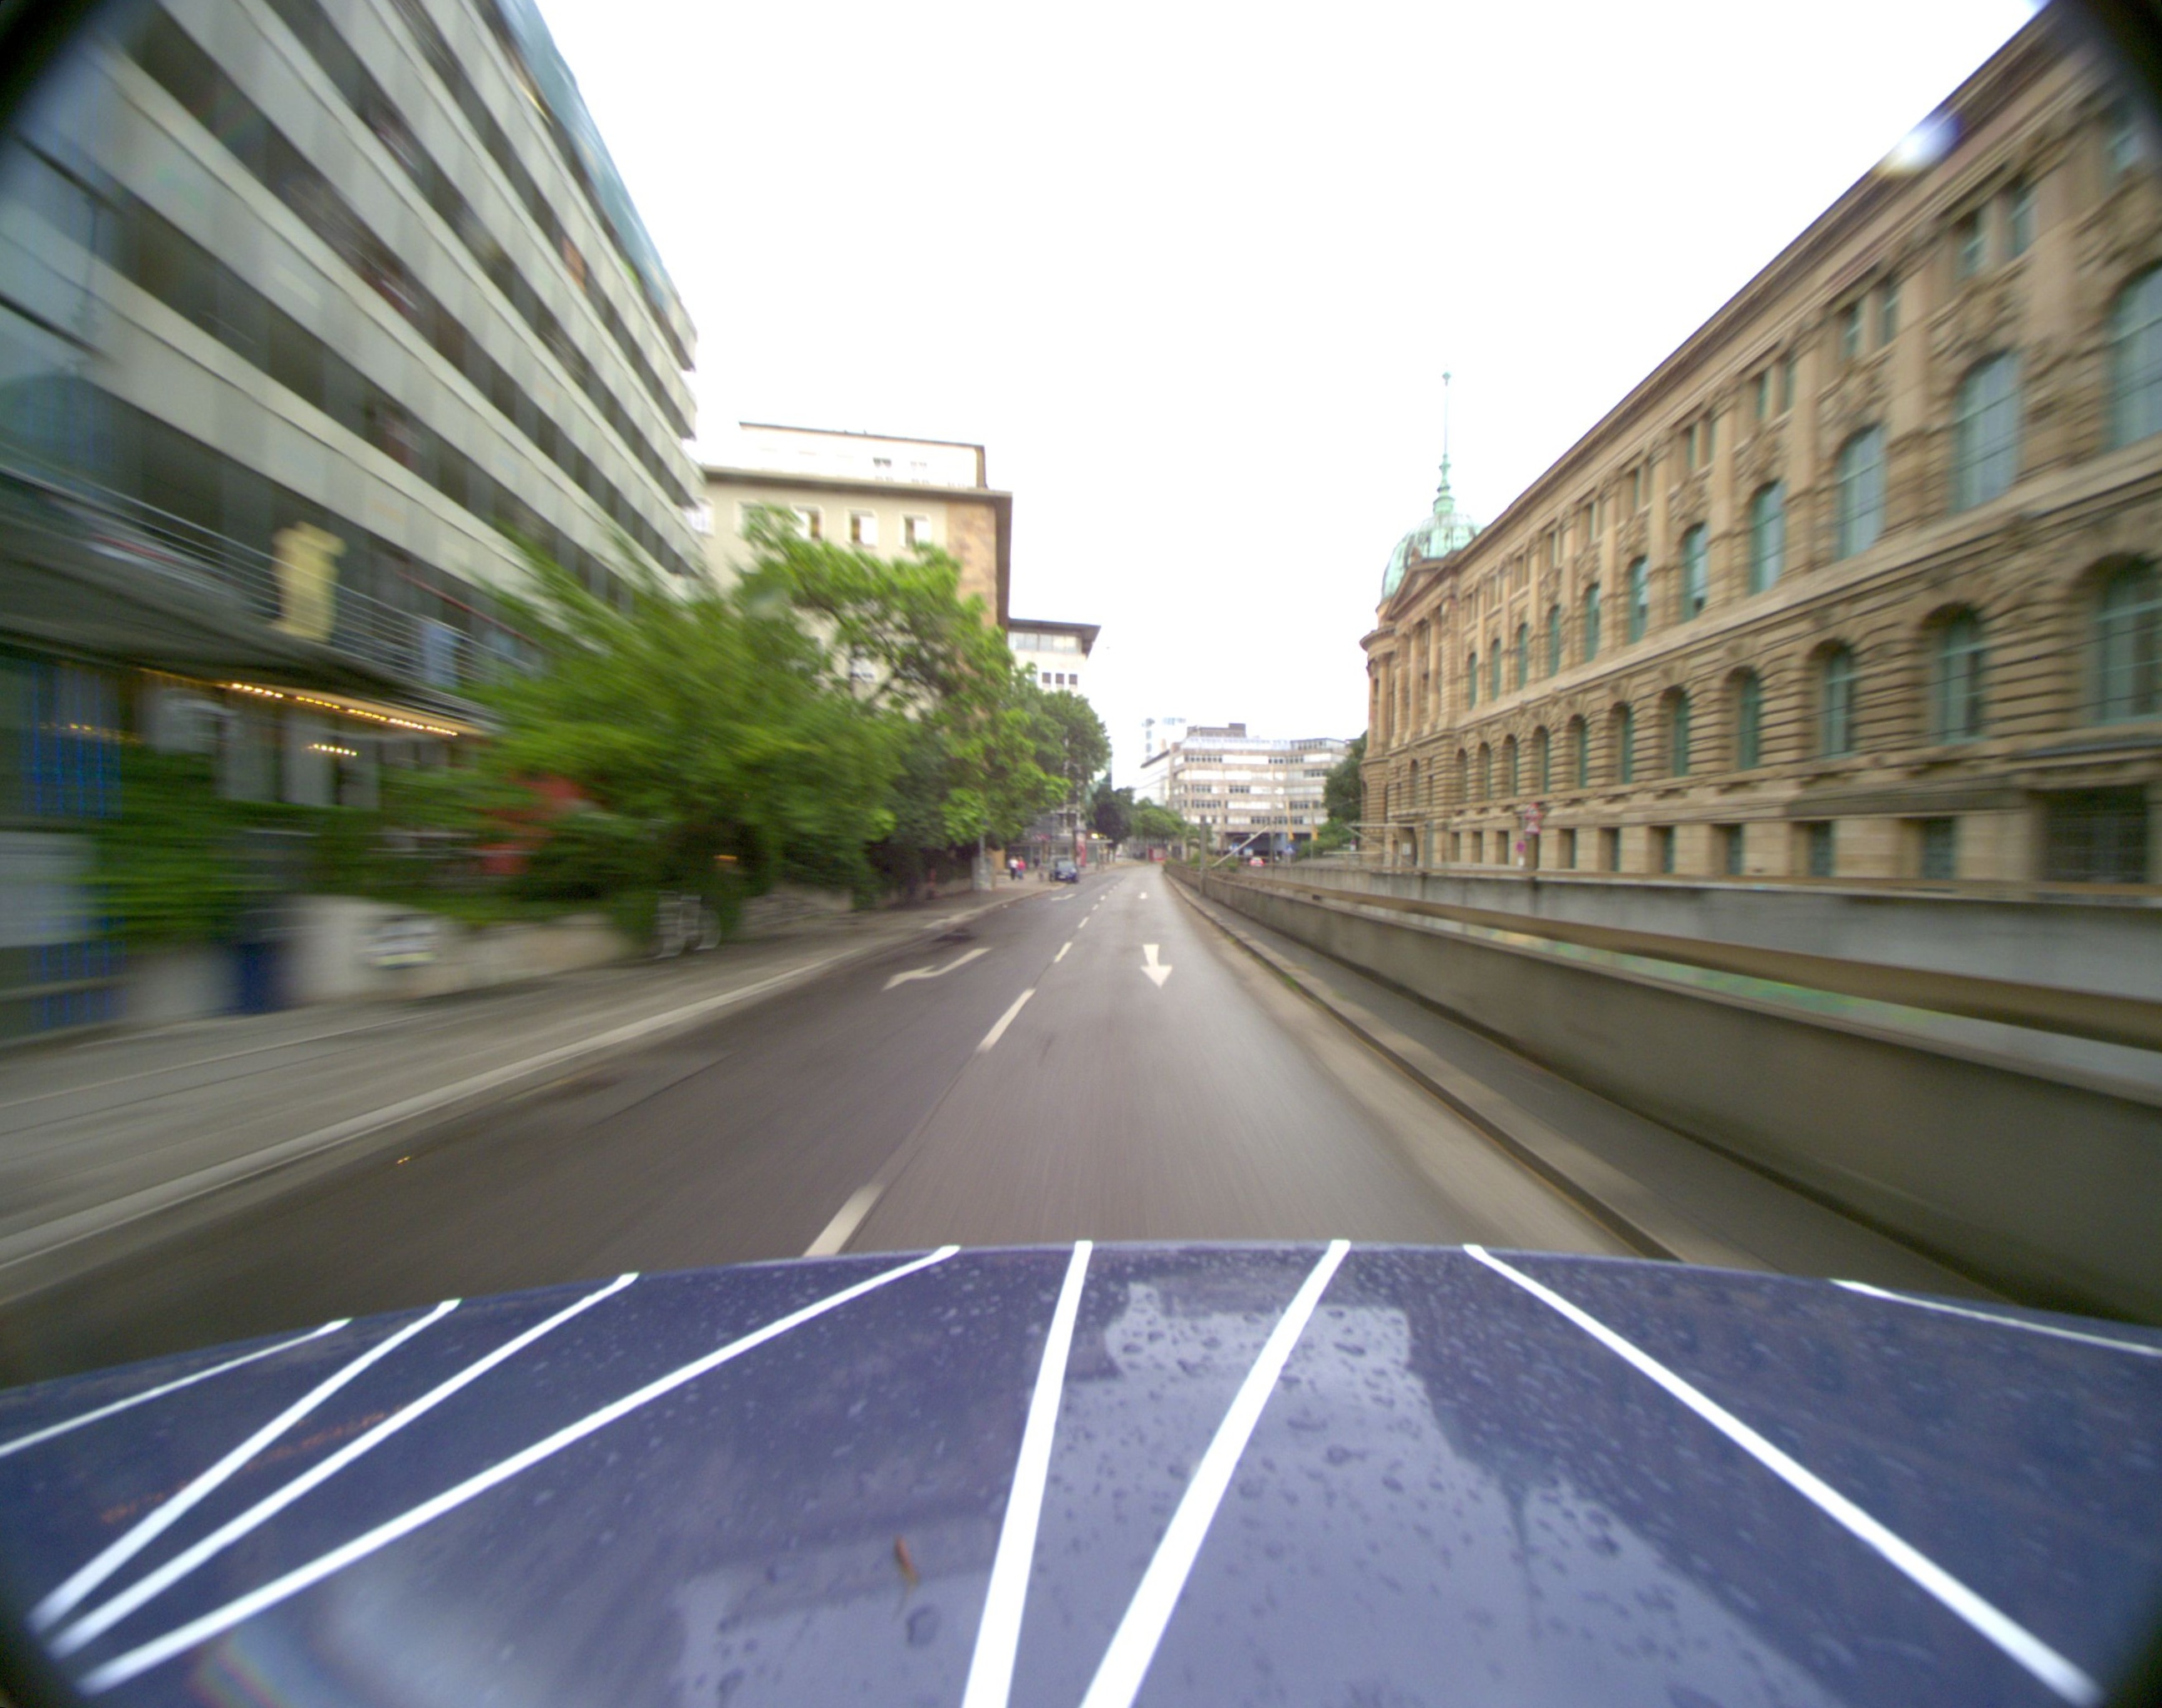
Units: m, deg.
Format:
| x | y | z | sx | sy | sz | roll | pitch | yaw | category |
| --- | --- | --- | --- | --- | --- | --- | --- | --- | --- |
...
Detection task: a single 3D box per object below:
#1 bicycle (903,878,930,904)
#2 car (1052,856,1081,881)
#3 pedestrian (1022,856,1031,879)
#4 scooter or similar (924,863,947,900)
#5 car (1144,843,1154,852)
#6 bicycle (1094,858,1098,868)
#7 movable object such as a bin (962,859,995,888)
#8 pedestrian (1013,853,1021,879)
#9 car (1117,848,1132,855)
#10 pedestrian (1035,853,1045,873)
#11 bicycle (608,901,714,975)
| x | y | z | sx | sy | sz | roll | pitch | yaw | category |
| --- | --- | --- | --- | --- | --- | --- | --- | --- | --- |
| -5.331 | 1.197 | 24.675 | 0.501 | 0.750 | 1.211 | 2 | 0 | 5 | bicycle |
| -0.973 | 0.975 | 53.628 | 1.772 | 1.610 | 4.157 | 0 | 1 | 3 | car |
| -3.507 | 0.851 | 48.778 | 0.526 | 1.483 | 0.673 | 0 | 1 | -6 | pedestrian |
| -5.115 | 0.948 | 26.732 | 0.448 | 1.252 | 1.211 | 2 | 1 | 5 | scooter or similar |
| 15.748 | -1.547 | 176.201 | 1.998 | 2.068 | 3.999 | -1 | 1 | 1 | car |
| 1.637 | 0.944 | 82.952 | 0.490 | 1.006 | 1.928 | 0 | 1 | 2 | bicycle |
| -4.881 | 0.902 | 36.265 | 1.242 | 1.302 | 1.234 | 2 | 1 | 6 | movable object such as a bin |
| -4.063 | 0.749 | 48.331 | 0.526 | 1.593 | 0.673 | 0 | 1 | -4 | pedestrian |
| 12.145 | -0.763 | 210.522 | 3.775 | 1.641 | 1.796 | 2 | 1 | -19 | car |
| -3.788 | 0.822 | 69.472 | 0.781 | 1.761 | 0.863 | 0 | 1 | 6 | pedestrian |
| -6.048 | 1.178 | 11.039 | 0.471 | 0.880 | 1.690 | 0 | 1 | 5 | bicycle |
